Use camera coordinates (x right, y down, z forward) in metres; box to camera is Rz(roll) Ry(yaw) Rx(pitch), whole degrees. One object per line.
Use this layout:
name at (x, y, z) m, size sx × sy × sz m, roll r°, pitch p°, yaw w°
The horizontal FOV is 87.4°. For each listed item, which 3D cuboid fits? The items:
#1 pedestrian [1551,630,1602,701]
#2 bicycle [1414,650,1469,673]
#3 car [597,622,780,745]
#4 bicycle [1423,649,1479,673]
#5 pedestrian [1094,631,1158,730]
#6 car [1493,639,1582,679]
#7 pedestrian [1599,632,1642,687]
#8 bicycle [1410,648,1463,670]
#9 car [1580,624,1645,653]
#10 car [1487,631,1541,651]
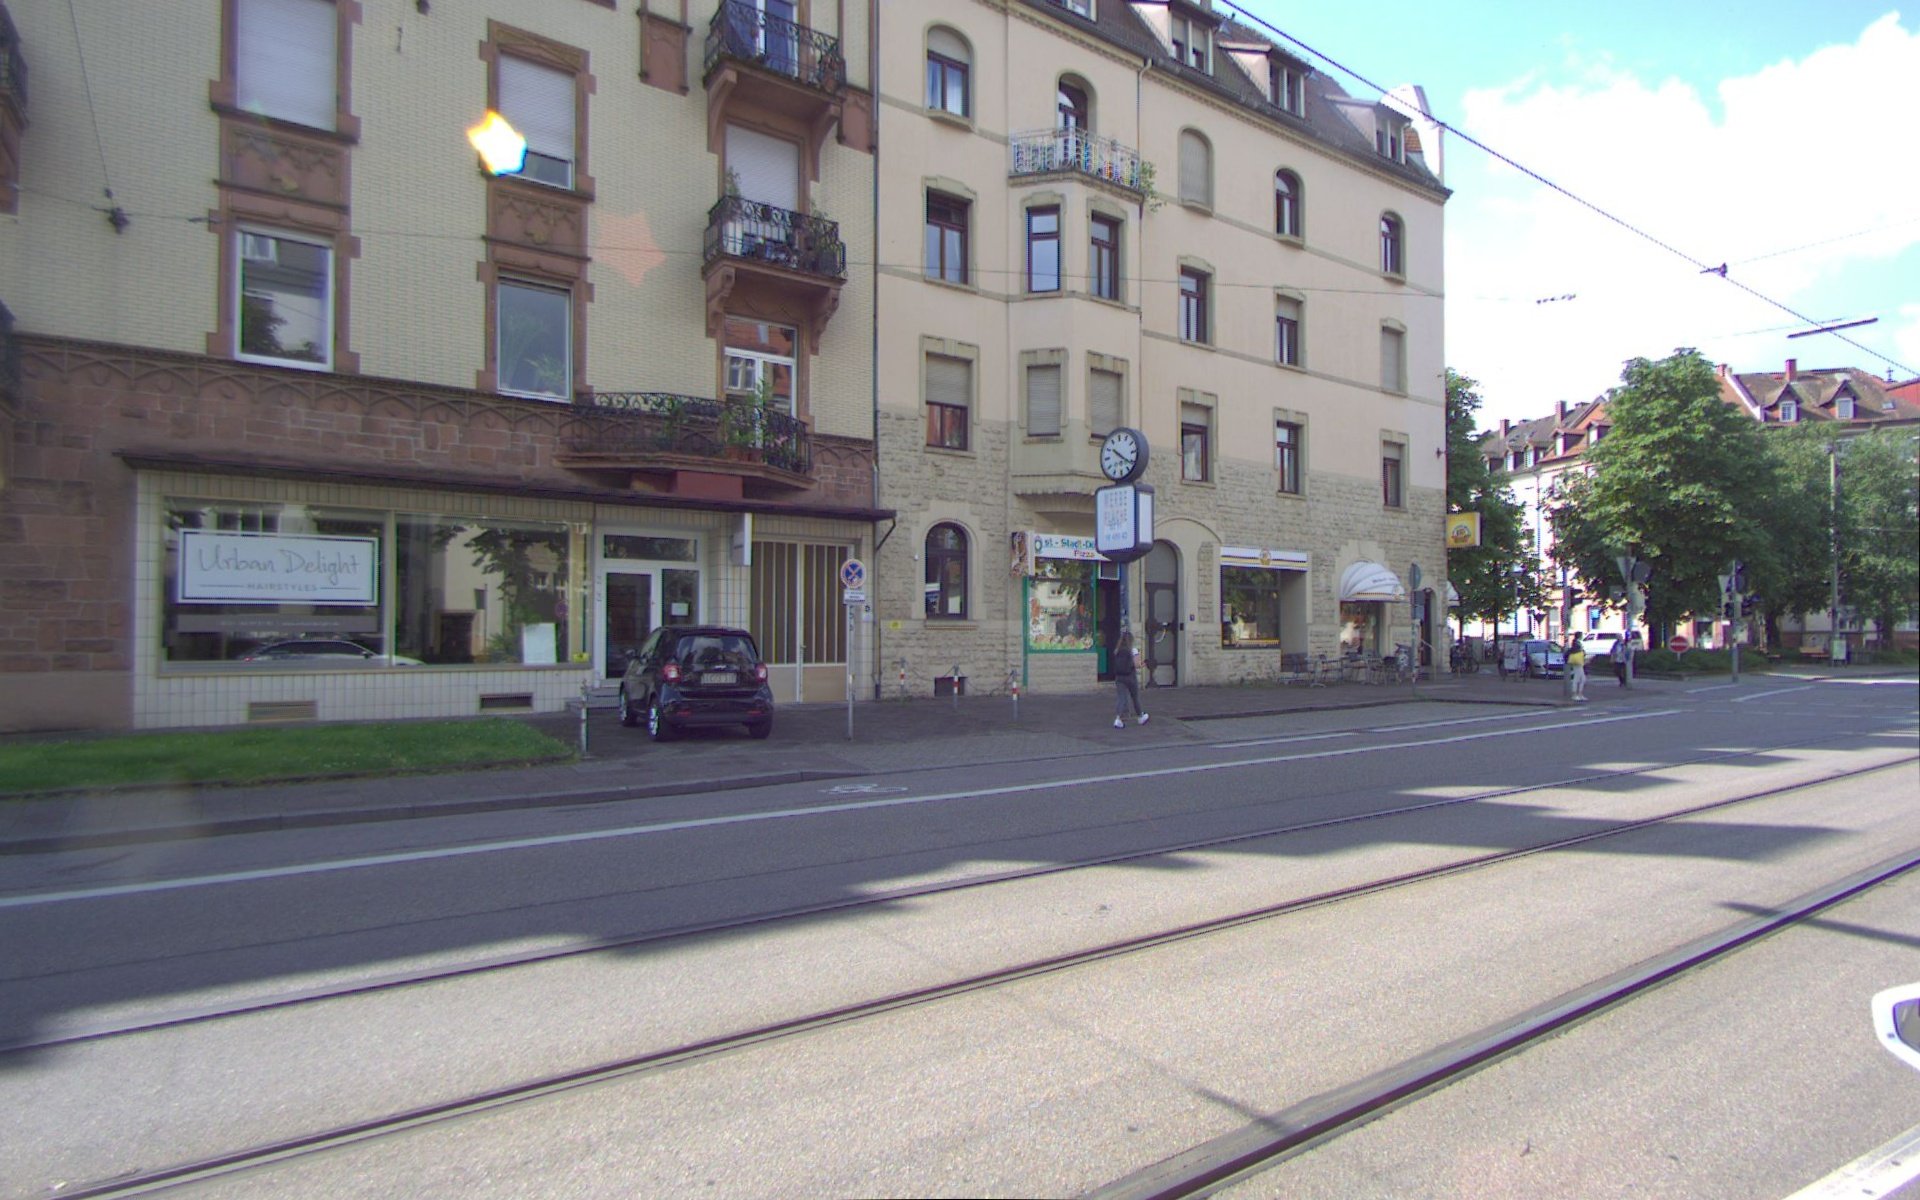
pedestrian at (15.711, 1.650, 25.614) m, size 0.865 × 1.727 × 0.751 m, roll 1°, pitch 2°, yaw -34°
bicycle at (20.203, 2.593, 42.178) m, size 1.990 × 0.894 × 0.512 m, roll 1°, pitch -2°, yaw 13°
car at (-4.115, 1.125, 14.887) m, size 1.687 × 1.506 × 3.425 m, roll 1°, pitch 0°, yaw -32°
bicycle at (19.957, 2.481, 40.850) m, size 1.990 × 0.894 × 0.523 m, roll 1°, pitch -2°, yaw 13°
pedestrian at (2.843, 1.344, 17.167) m, size 0.684 × 1.562 × 0.960 m, roll 4°, pitch 2°, yaw 35°
car at (22.028, 2.221, 38.463) m, size 1.686 × 1.439 × 3.876 m, roll 0°, pitch -2°, yaw 10°
pedestrian at (20.578, 1.838, 31.309) m, size 0.813 × 1.694 × 0.850 m, roll 1°, pitch -2°, yaw -32°
bicycle at (20.576, 2.548, 43.363) m, size 1.990 × 0.894 × 0.512 m, roll 1°, pitch -2°, yaw 13°
car at (47.944, 2.808, 73.872) m, size 1.823 × 2.015 × 3.942 m, roll 0°, pitch -2°, yaw -10°
car at (46.052, 3.407, 83.635) m, size 1.882 × 1.685 × 3.934 m, roll 0°, pitch -2°, yaw -11°
